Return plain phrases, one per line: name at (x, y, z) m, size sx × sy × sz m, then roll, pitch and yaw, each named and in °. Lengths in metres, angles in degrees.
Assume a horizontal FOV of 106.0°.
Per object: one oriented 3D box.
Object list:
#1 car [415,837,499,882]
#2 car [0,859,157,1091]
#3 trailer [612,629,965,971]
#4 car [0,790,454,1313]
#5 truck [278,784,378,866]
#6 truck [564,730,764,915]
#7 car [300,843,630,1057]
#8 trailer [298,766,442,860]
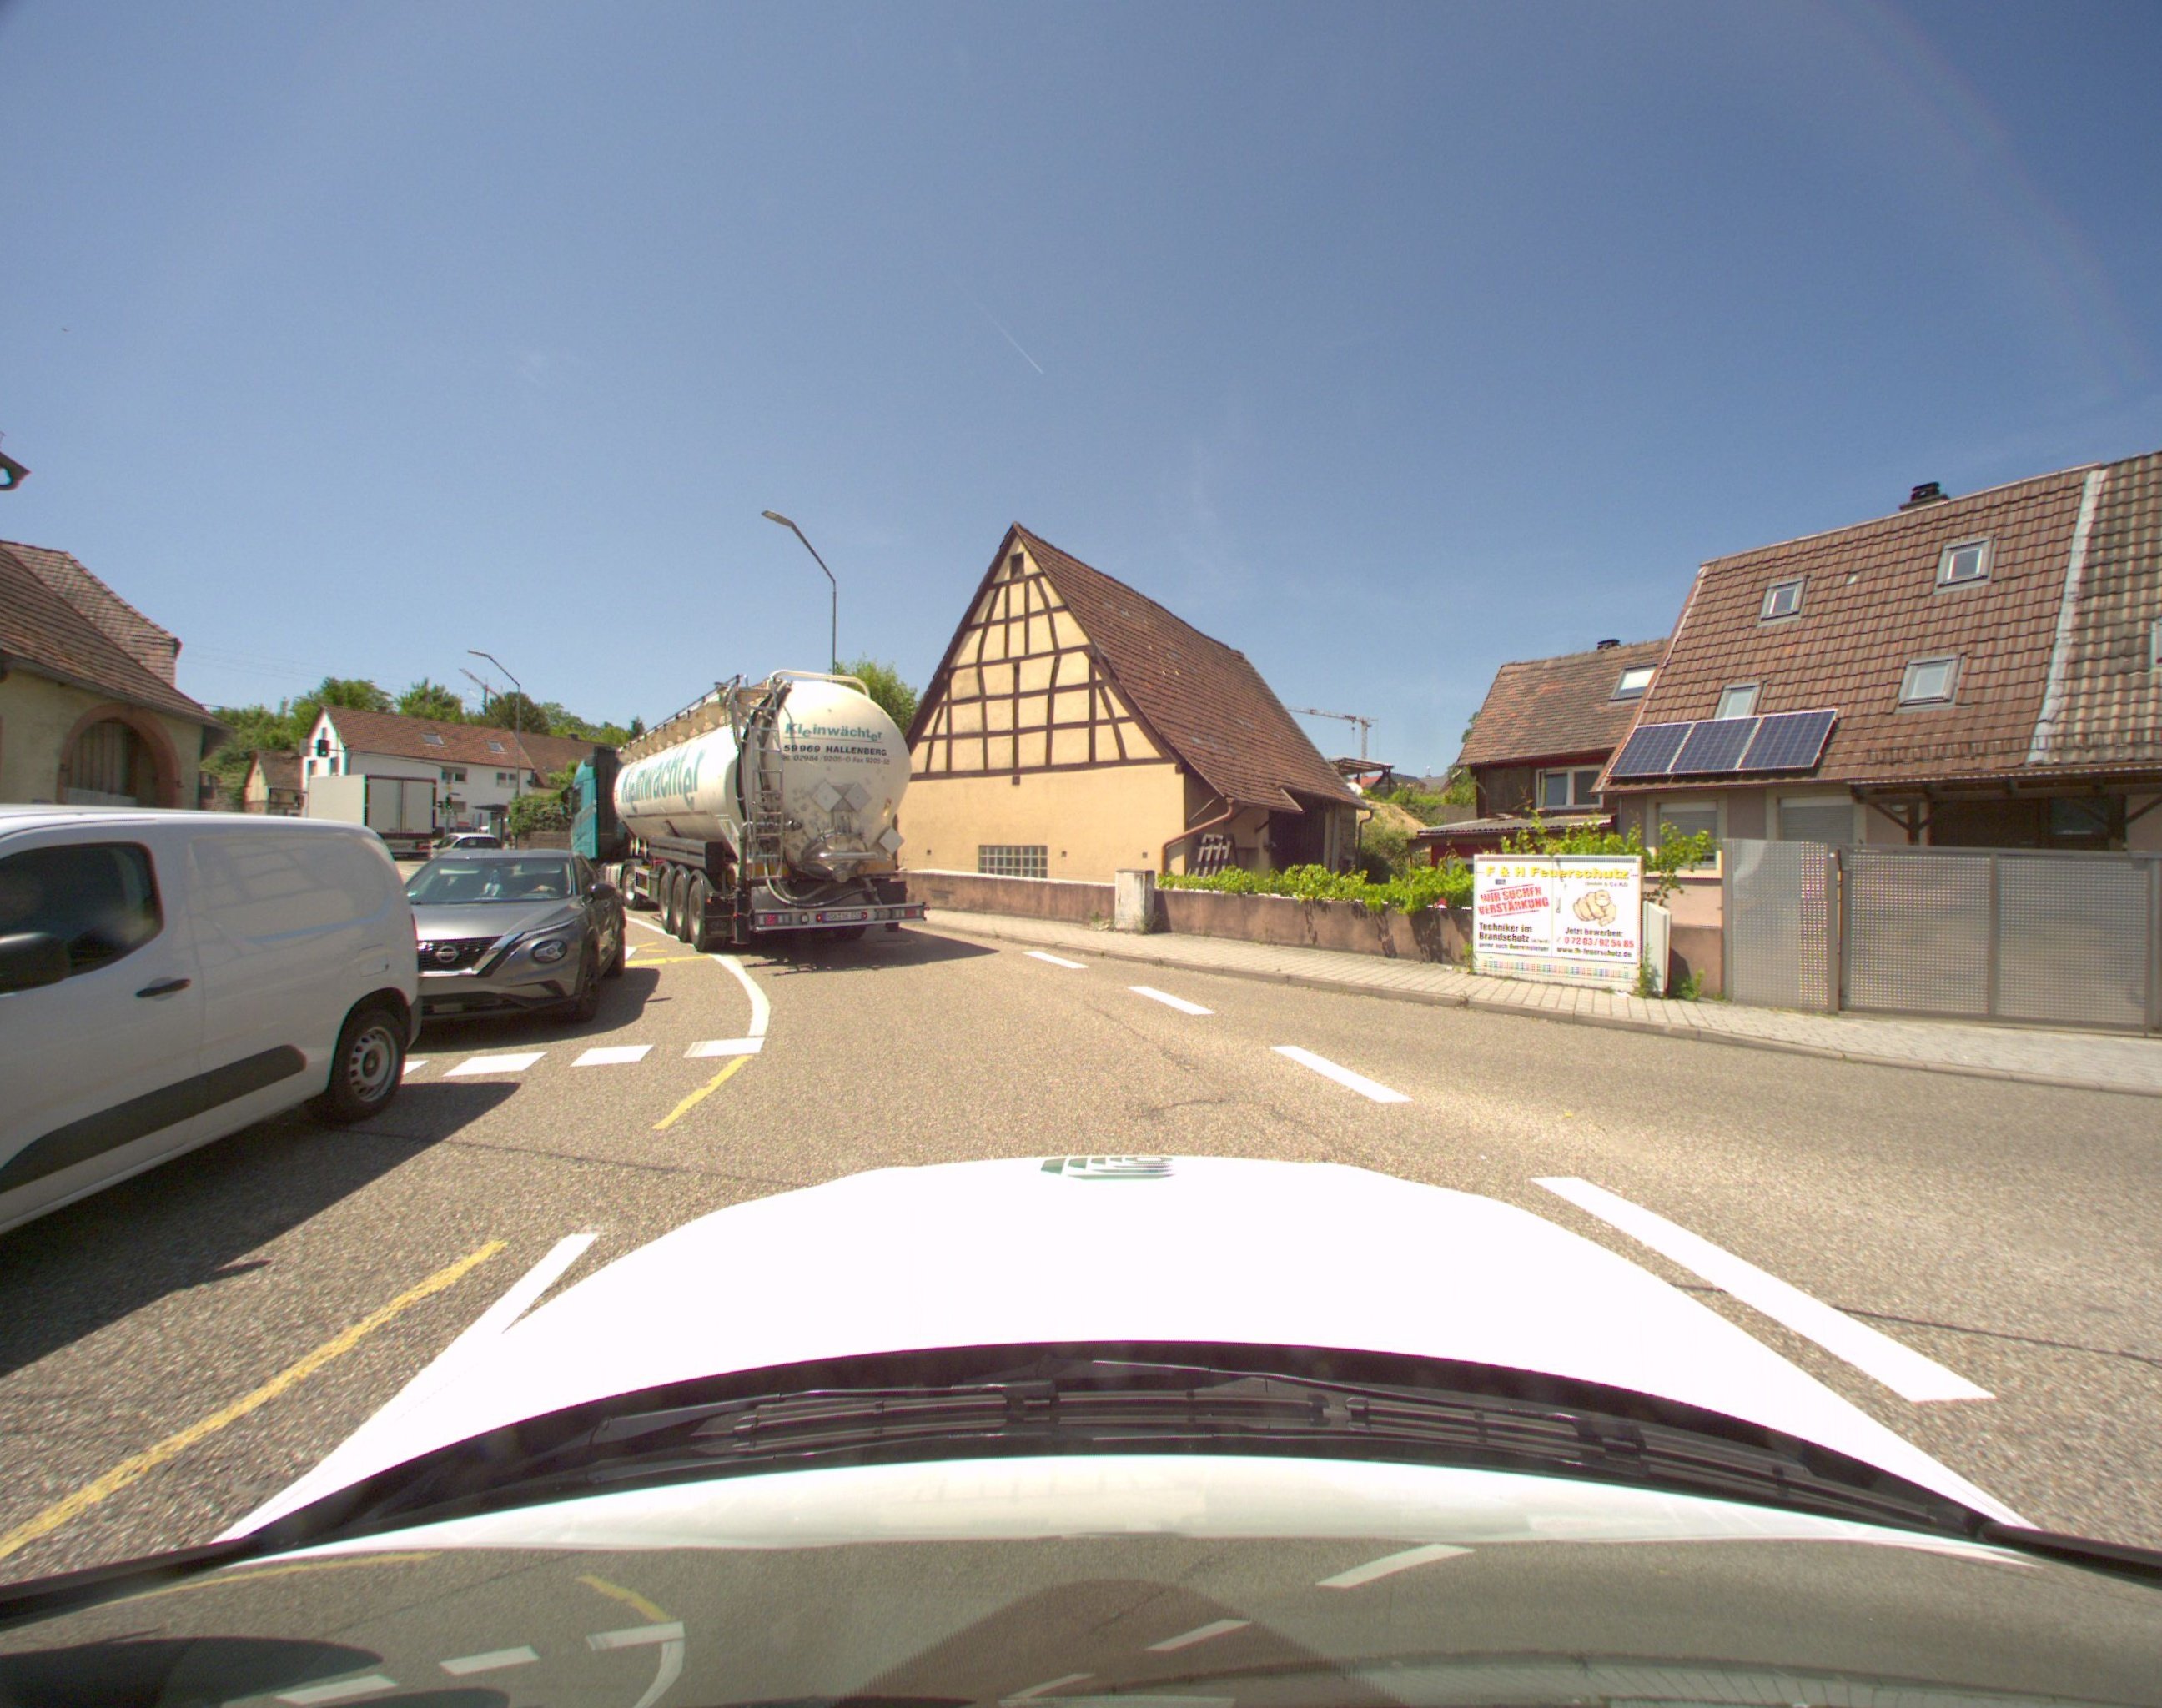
car at (-23.562, 0.199, 30.720) m, size 3.560 × 1.585 × 1.798 m, roll 0°, pitch -1°, yaw 41°
car at (-7.568, 0.800, 4.119) m, size 1.839 × 1.442 × 3.982 m, roll 0°, pitch 1°, yaw -14°
trailer at (-6.189, -0.686, 14.948) m, size 2.975 × 3.948 × 11.492 m, roll 1°, pitch 0°, yaw -36°
car at (-4.774, 0.661, 3.285) m, size 1.876 × 1.785 × 4.500 m, roll 0°, pitch 0°, yaw -14°
truck at (-43.671, -1.606, 47.189) m, size 5.859 × 4.401 × 3.134 m, roll 2°, pitch -1°, yaw 37°
truck at (-10.629, -0.714, 20.536) m, size 3.014 × 3.965 × 5.511 m, roll 1°, pitch 0°, yaw -43°
car at (-5.726, 0.702, 8.154) m, size 1.801 × 1.524 × 3.968 m, roll 1°, pitch 1°, yaw -25°
trailer at (-37.013, -1.941, 42.159) m, size 12.334 × 4.277 × 3.162 m, roll 1°, pitch 0°, yaw 37°
